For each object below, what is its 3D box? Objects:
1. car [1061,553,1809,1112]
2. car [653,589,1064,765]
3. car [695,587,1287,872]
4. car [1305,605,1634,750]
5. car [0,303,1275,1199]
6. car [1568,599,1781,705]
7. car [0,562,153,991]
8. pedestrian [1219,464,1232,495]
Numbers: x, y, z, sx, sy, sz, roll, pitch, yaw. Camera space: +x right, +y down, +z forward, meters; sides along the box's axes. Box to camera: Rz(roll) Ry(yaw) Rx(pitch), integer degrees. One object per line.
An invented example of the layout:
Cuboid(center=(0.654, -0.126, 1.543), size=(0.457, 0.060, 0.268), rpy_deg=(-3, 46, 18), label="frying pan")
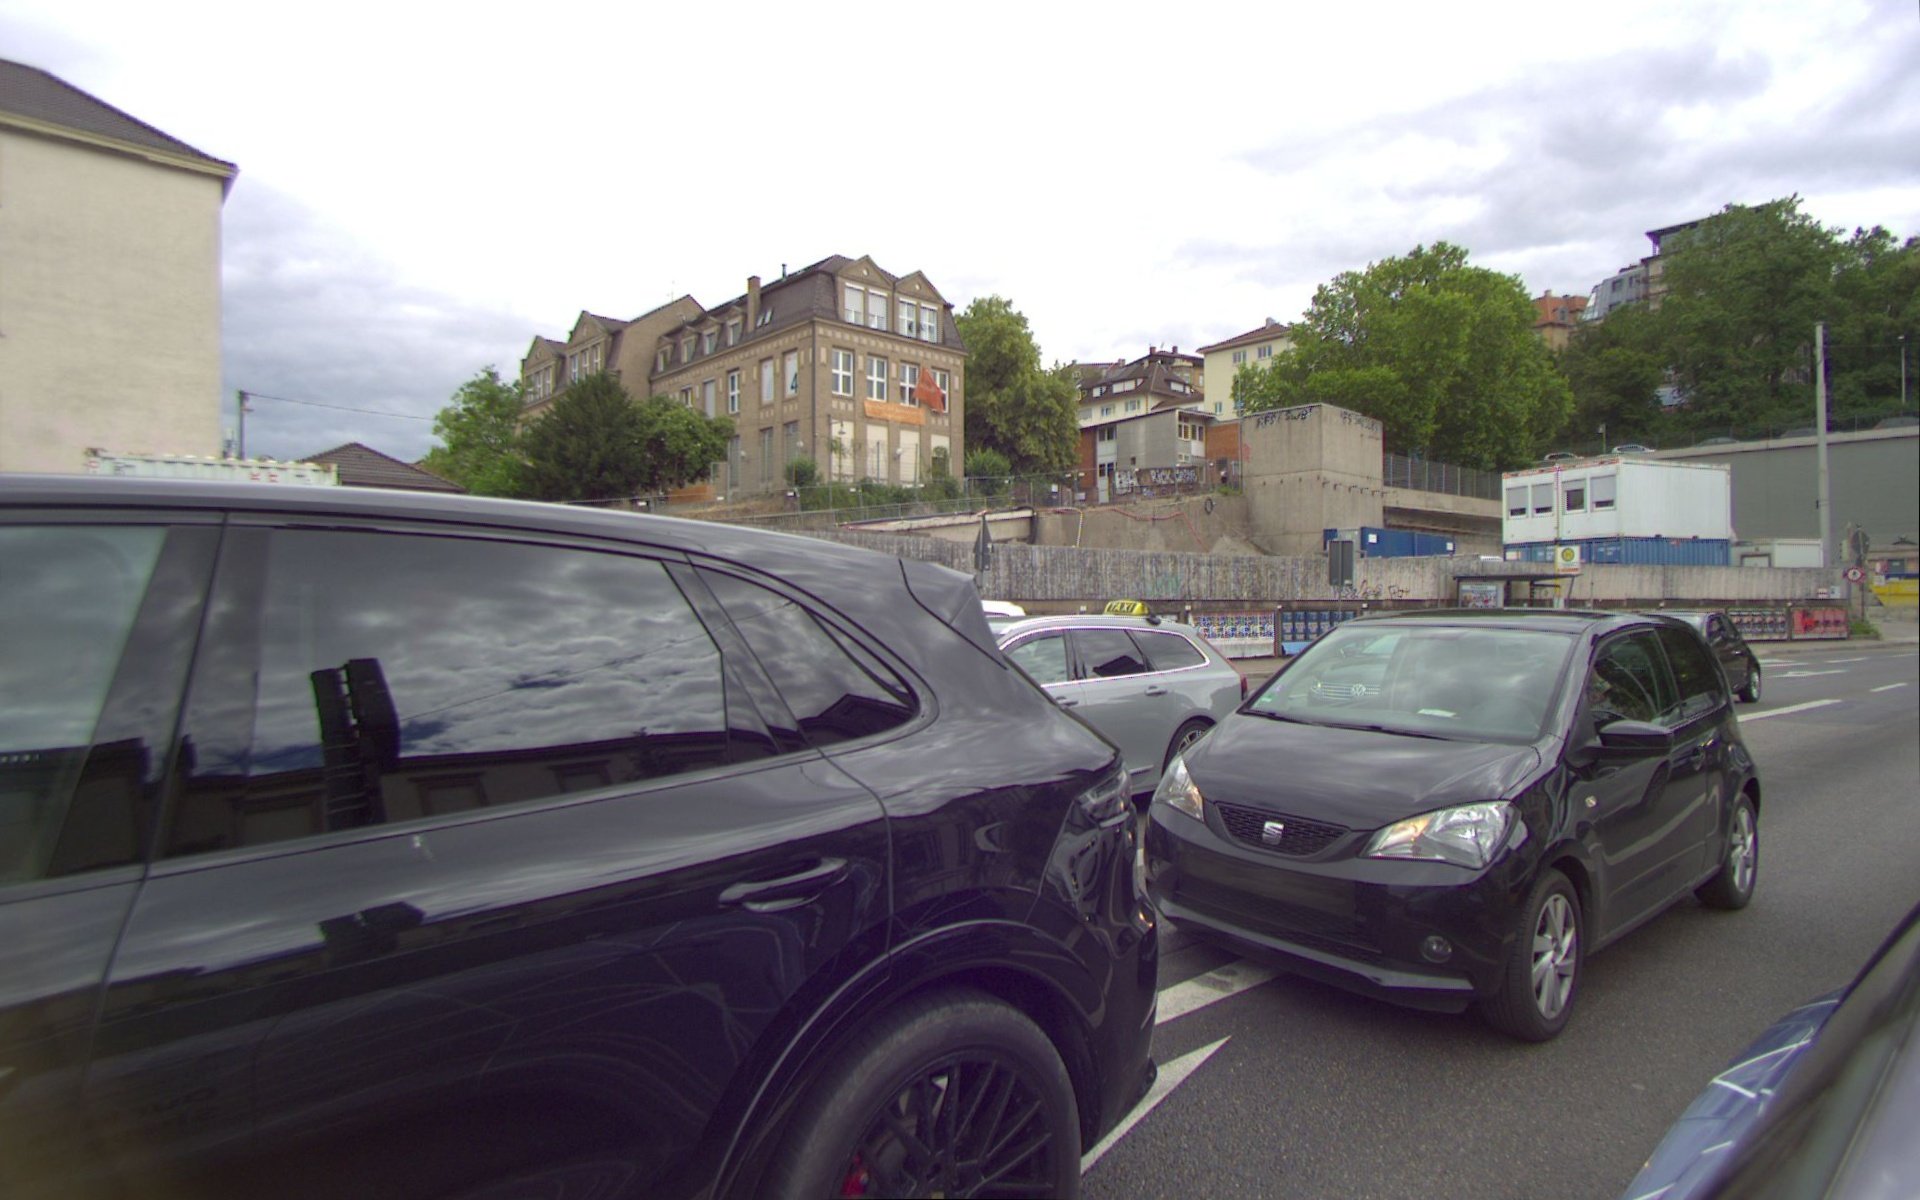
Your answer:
Cuboid(center=(2.420, 0.632, 4.718), size=(3.841, 1.575, 1.661), rpy_deg=(-1, 0, -39), label="car")
Cuboid(center=(-0.930, 0.634, 10.602), size=(4.004, 1.484, 1.824), rpy_deg=(-1, 0, -42), label="car")
Cuboid(center=(0.408, 0.658, 7.339), size=(4.142, 1.484, 1.825), rpy_deg=(-1, 0, -40), label="car")
Cuboid(center=(6.032, 0.769, 11.805), size=(4.139, 1.381, 1.827), rpy_deg=(1, 0, -38), label="car")
Cuboid(center=(-1.649, 0.556, 1.666), size=(4.497, 1.689, 1.998), rpy_deg=(-1, 0, -39), label="car")
Cuboid(center=(11.306, 0.751, 15.950), size=(3.711, 1.478, 1.721), rpy_deg=(1, -2, -38), label="car")
Cuboid(center=(-5.053, 0.637, 3.457), size=(3.581, 1.529, 1.826), rpy_deg=(-1, 0, -39), label="car")
Cuboid(center=(16.401, -7.453, 62.627), size=(0.559, 1.817, 0.554), rpy_deg=(0, 0, -39), label="pedestrian")
